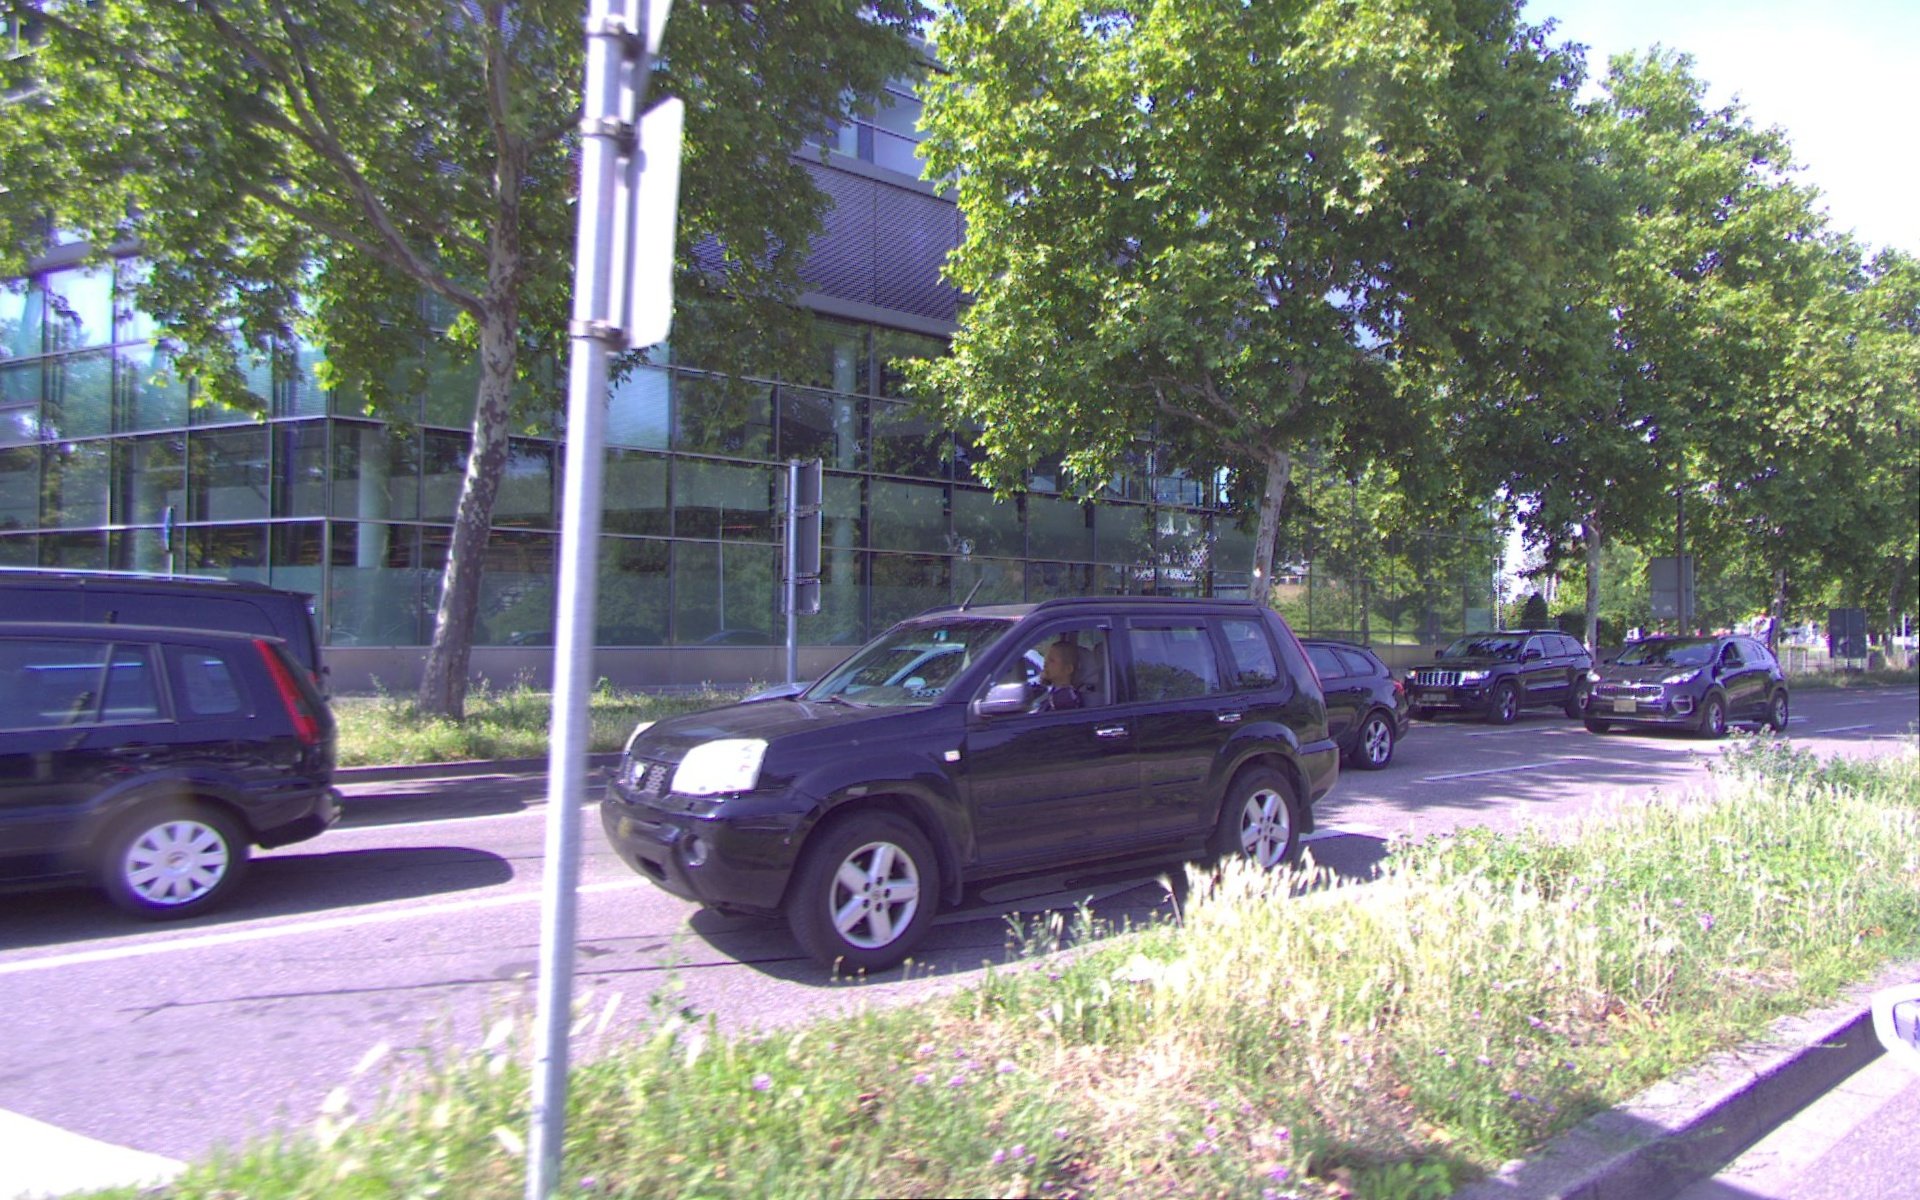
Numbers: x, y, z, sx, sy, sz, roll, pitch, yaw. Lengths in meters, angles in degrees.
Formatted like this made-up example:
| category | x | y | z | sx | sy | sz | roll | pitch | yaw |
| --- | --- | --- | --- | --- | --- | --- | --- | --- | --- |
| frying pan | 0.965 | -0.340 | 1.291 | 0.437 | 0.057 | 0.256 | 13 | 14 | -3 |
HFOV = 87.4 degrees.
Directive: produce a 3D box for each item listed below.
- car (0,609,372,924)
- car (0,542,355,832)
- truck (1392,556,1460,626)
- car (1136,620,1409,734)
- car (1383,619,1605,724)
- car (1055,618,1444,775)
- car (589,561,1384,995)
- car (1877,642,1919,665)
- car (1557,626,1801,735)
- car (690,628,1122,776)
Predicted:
| category | x | y | z | sx | sy | sz | roll | pitch | yaw |
| --- | --- | --- | --- | --- | --- | --- | --- | --- | --- |
| car | -5.414 | 0.798 | 5.269 | 3.917 | 1.495 | 1.751 | 1 | -1 | -34 |
| car | -7.428 | 0.597 | 7.251 | 5.175 | 1.945 | 1.926 | 0 | -1 | -35 |
| truck | 25.441 | -0.359 | 55.179 | 2.621 | 3.440 | 8.990 | 0 | -2 | 20 |
| car | 5.106 | 1.194 | 16.249 | 4.399 | 1.611 | 1.876 | 2 | -3 | -34 |
| car | 10.679 | 1.351 | 19.992 | 4.603 | 1.859 | 1.981 | 1 | -2 | -34 |
| car | 3.398 | 1.020 | 11.506 | 4.469 | 1.481 | 1.825 | 2 | -4 | -34 |
| car | 0.373 | 0.734 | 5.835 | 4.446 | 1.636 | 1.796 | 1 | -2 | -35 |
| car | 78.322 | 4.423 | 82.544 | 2.131 | 1.847 | 3.969 | 2 | -1 | -29 |
| car | 12.329 | 1.272 | 17.149 | 4.449 | 1.632 | 1.981 | 1 | -2 | -34 |
| car | -0.527 | 1.113 | 12.106 | 4.951 | 1.468 | 1.880 | 2 | -3 | -34 |
